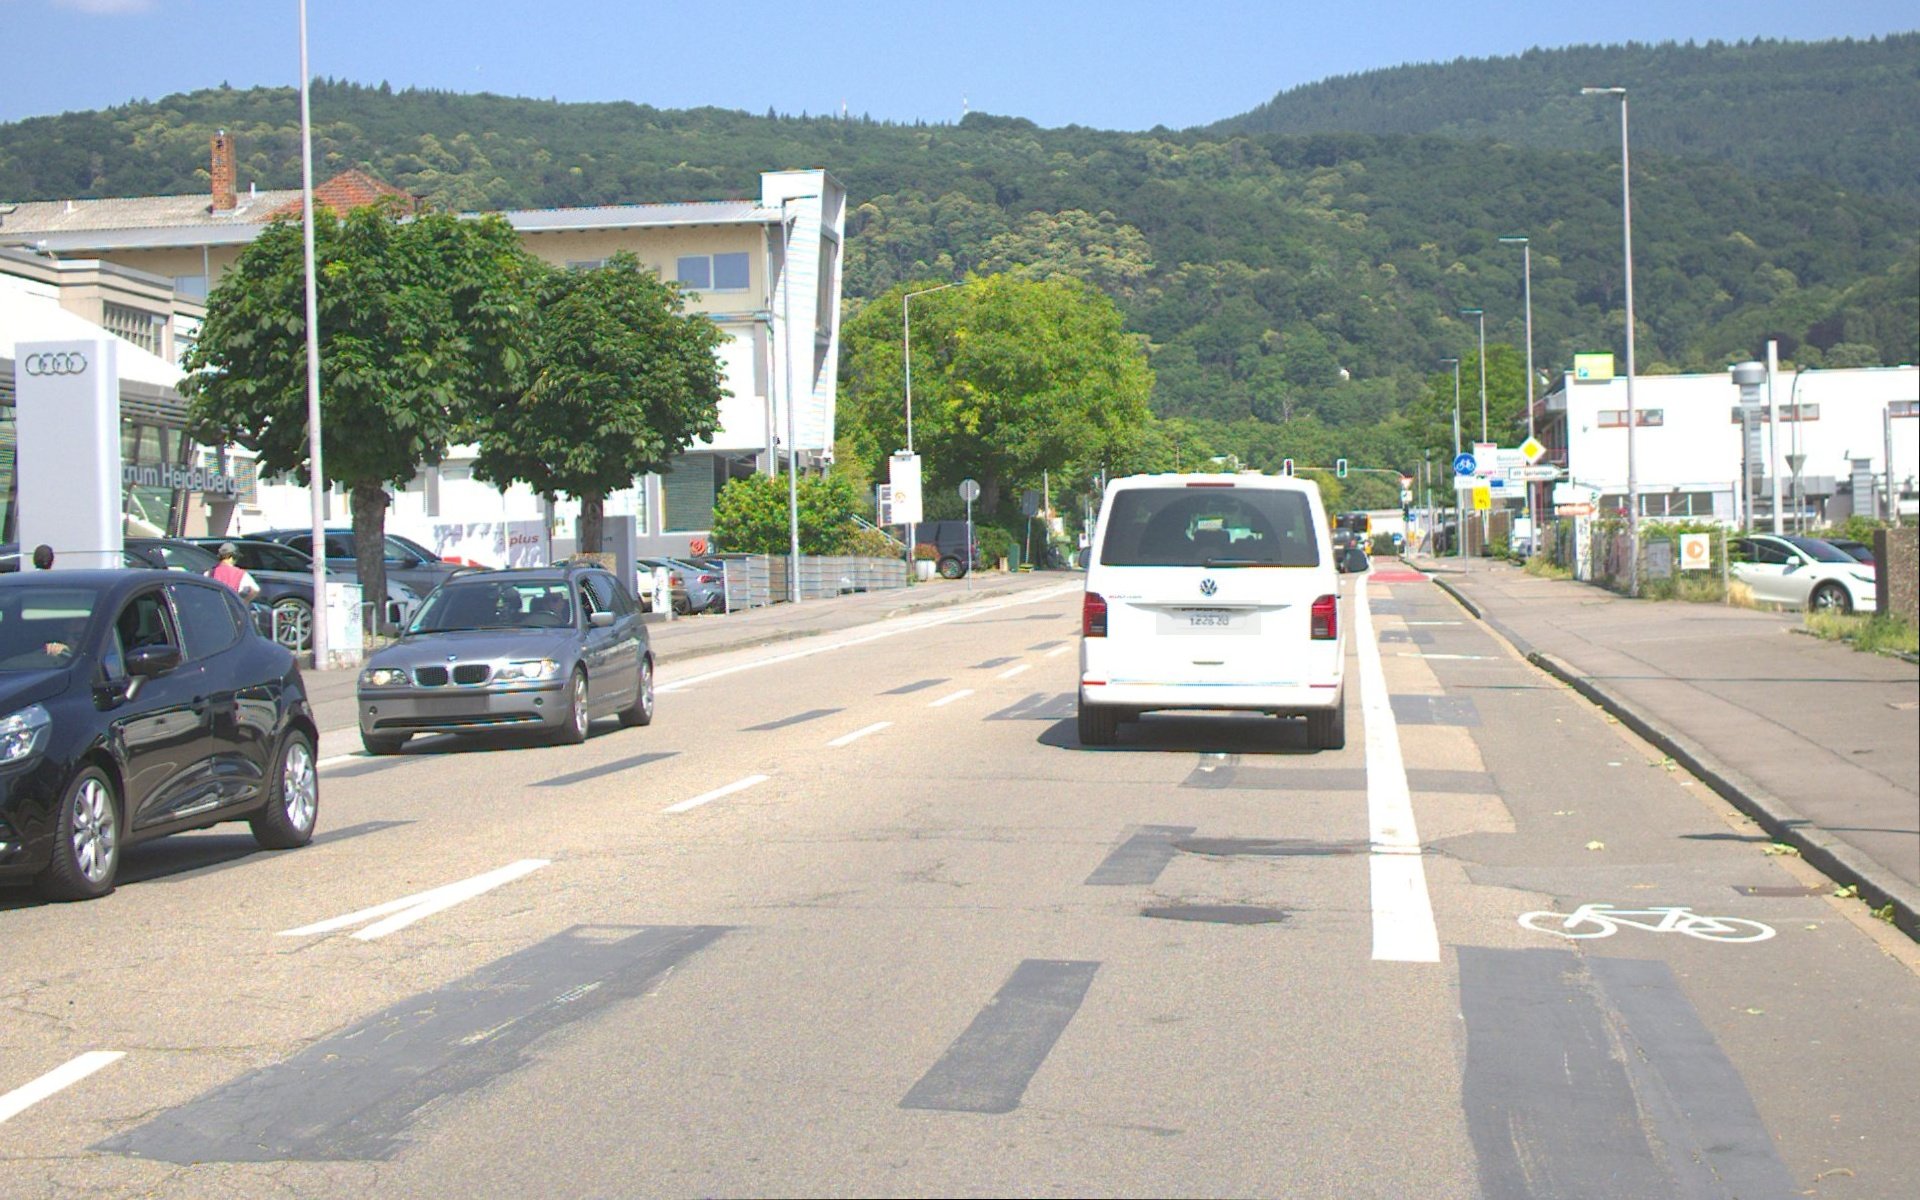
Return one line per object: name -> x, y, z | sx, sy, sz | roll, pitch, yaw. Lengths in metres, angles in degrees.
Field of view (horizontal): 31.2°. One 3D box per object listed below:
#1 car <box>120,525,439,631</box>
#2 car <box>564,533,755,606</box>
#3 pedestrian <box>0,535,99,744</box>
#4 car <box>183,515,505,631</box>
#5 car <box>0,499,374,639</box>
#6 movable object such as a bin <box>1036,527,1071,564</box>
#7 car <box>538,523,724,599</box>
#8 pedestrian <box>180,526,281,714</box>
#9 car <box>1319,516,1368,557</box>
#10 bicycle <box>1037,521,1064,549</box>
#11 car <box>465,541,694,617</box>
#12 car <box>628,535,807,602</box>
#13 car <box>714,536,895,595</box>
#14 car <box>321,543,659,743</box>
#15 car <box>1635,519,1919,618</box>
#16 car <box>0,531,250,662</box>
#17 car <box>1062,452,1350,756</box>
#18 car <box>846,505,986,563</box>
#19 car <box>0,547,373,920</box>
car -> -9.906, -0.314, 50.085 | 4.189, 1.490, 1.875 | 0, 0, -29
car -> -6.781, -0.693, 77.845 | 3.987, 1.438, 1.859 | 2, -1, 5
pedestrian -> -8.285, 0.346, 31.003 | 0.723, 1.842, 0.911 | -2, 1, 2
car -> -9.604, -0.442, 53.671 | 4.565, 1.691, 1.859 | -1, 1, -29
car -> -10.380, -0.411, 46.223 | 4.467, 1.603, 1.966 | 2, 4, -29
movable object such as a bin -> 4.137, -2.410, 152.349 | 1.448, 1.585, 1.307 | -2, 1, -2
car -> -7.191, -0.847, 75.479 | 3.890, 1.439, 1.823 | 2, -1, -1
pedestrian -> -7.413, 0.190, 34.968 | 0.732, 1.861, 1.047 | -2, 1, 1
car -> 17.371, -2.881, 155.940 | 1.994, 1.744, 4.000 | -2, 1, 4
bicycle -> 3.765, -2.702, 142.838 | 1.027, 1.114, 2.766 | 1, 1, 4
car -> -8.075, -0.450, 73.177 | 4.524, 1.452, 1.900 | -2, 1, 5
car -> -6.165, -0.817, 87.806 | 4.296, 1.553, 1.995 | -2, 1, 3
car -> -4.306, -0.980, 95.677 | 4.740, 1.476, 2.048 | -2, 1, 5
car -> -3.722, 0.292, 27.964 | 1.742, 1.399, 4.324 | -3, 1, 5
car -> 14.910, -0.563, 62.301 | 2.018, 1.616, 5.045 | 5, -3, -41
car -> -11.090, -0.056, 42.501 | 4.146, 1.454, 1.908 | 3, -1, -25
car -> 1.883, -0.019, 25.880 | 1.935, 2.052, 4.544 | 1, 1, 5
car -> -1.456, -2.215, 115.247 | 4.566, 1.859, 2.093 | -1, 1, 2
car -> -4.276, 0.545, 15.928 | 1.661, 1.449, 4.239 | -3, 1, 10
